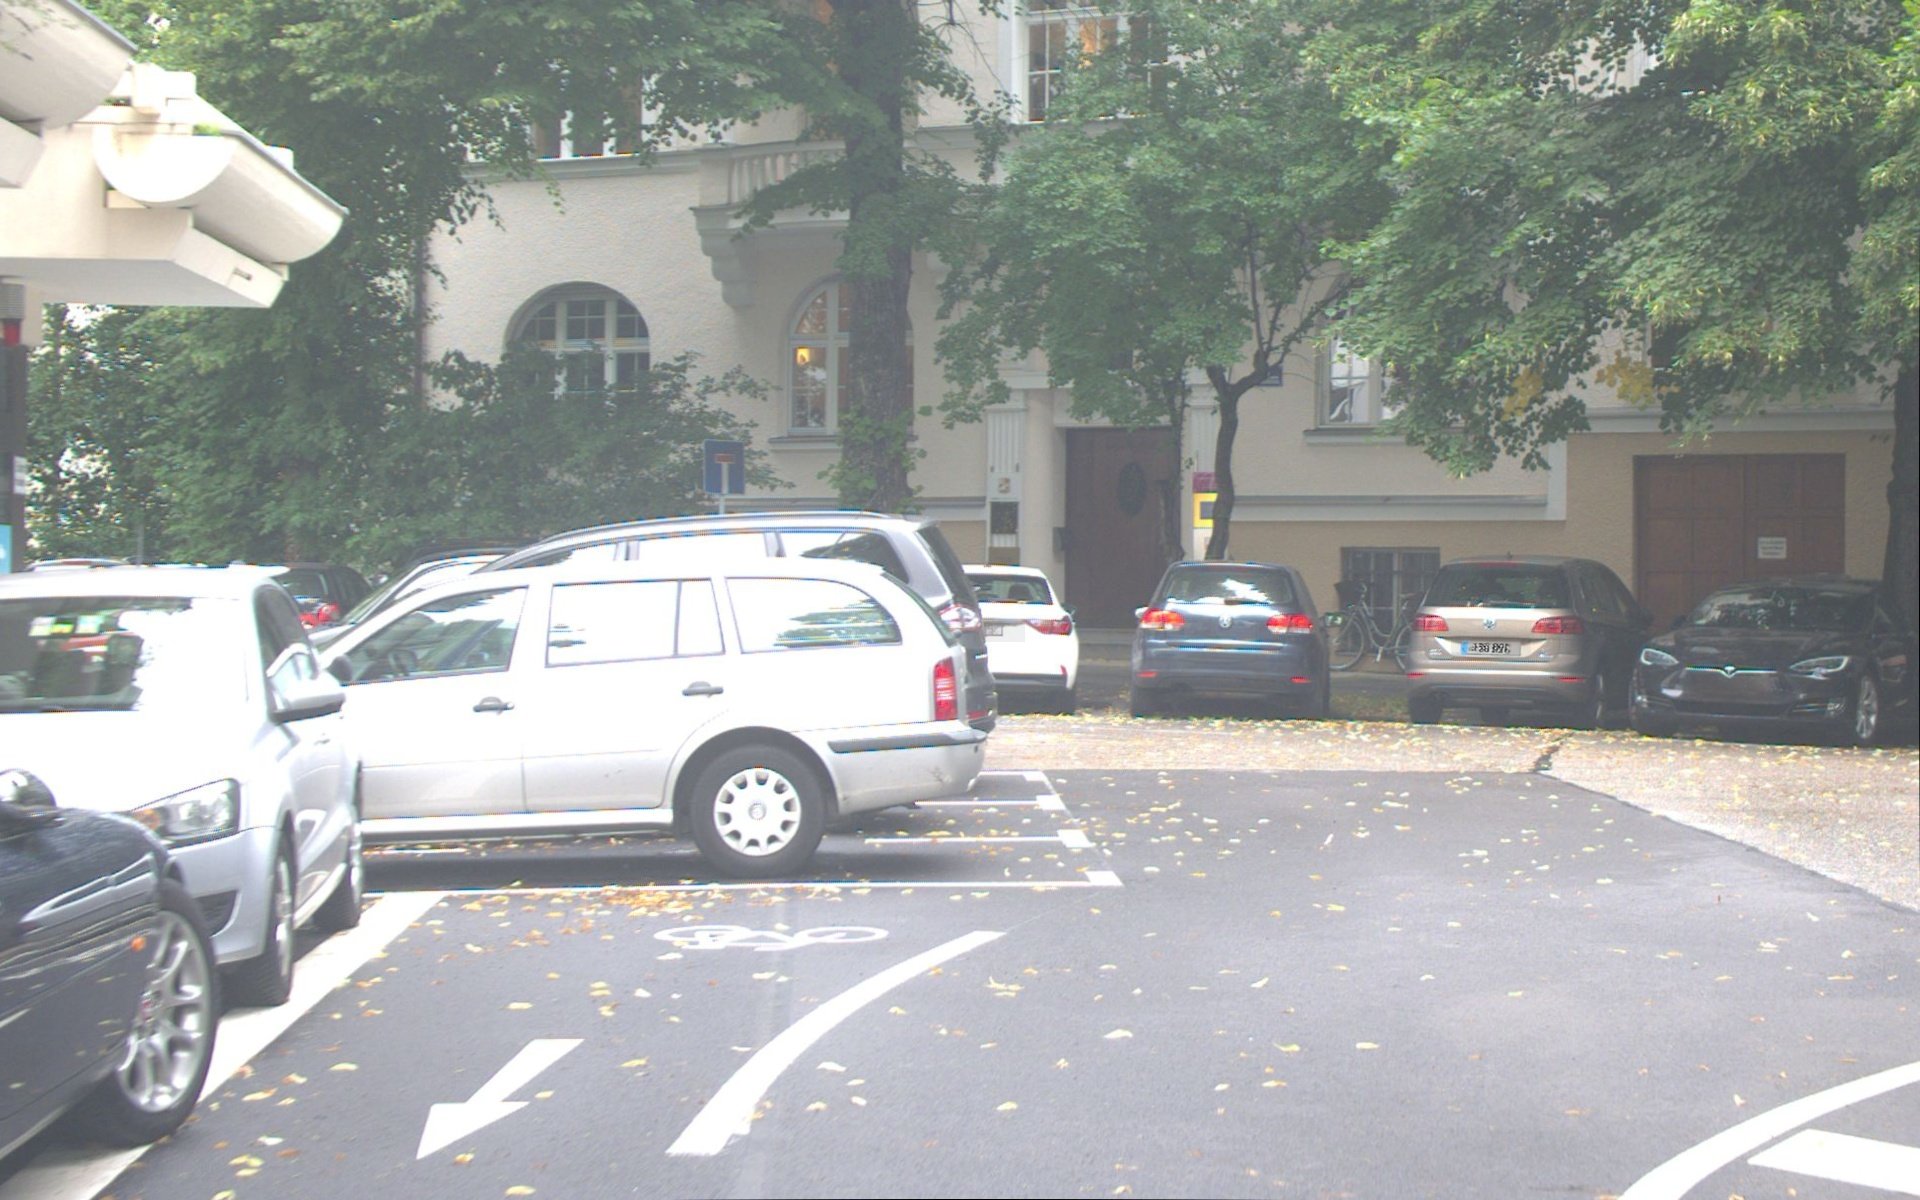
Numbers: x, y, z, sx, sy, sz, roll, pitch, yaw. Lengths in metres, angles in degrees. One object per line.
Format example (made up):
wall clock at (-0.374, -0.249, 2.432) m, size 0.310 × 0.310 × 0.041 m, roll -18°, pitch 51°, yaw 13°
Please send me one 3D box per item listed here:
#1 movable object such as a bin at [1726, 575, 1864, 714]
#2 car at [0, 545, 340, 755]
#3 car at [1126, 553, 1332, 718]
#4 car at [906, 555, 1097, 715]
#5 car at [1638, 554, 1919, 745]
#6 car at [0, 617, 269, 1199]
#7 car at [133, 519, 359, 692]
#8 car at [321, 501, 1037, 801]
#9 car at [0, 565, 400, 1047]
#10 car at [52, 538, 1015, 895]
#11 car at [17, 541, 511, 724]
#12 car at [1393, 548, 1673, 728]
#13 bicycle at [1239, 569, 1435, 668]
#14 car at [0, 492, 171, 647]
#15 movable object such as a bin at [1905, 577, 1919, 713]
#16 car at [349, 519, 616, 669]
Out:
movable object such as a bin at (8.511, 0.439, 35.026) m, size 1.151 × 1.344 × 1.155 m, roll 2°, pitch 2°, yaw 23°
car at (-6.812, 0.392, 27.779) m, size 3.287 × 1.625 × 1.510 m, roll 1°, pitch 1°, yaw -22°
car at (2.544, 0.292, 32.589) m, size 1.791 × 1.426 × 3.999 m, roll 1°, pitch 1°, yaw 4°
car at (0.373, 0.293, 33.523) m, size 1.718 × 1.426 × 4.000 m, roll 1°, pitch 1°, yaw 0°
car at (7.356, 0.463, 29.774) m, size 1.706 × 1.462 × 4.281 m, roll 3°, pitch -1°, yaw 28°
car at (-2.678, 0.735, 7.034) m, size 1.796 × 1.273 × 4.617 m, roll -1°, pitch 1°, yaw -3°
car at (-7.092, 0.021, 34.472) m, size 1.699 × 1.596 × 4.001 m, roll 1°, pitch 1°, yaw -5°
car at (-1.729, 0.283, 21.451) m, size 4.219 × 1.678 × 1.903 m, roll -1°, pitch 1°, yaw -4°
car at (-2.991, 0.609, 12.261) m, size 1.560 × 1.416 × 3.834 m, roll -1°, pitch 1°, yaw -4°
car at (-1.929, 0.501, 16.190) m, size 4.227 × 1.450 × 1.721 m, roll -2°, pitch 1°, yaw -3°
car at (-5.250, 0.240, 25.876) m, size 3.448 × 1.280 × 1.531 m, roll 1°, pitch 1°, yaw -19°
car at (5.405, 0.322, 32.044) m, size 1.840 × 1.525 × 4.021 m, roll 1°, pitch 1°, yaw 20°
bicycle at (4.475, 0.211, 40.898) m, size 2.232 × 1.111 × 0.576 m, roll 2°, pitch 1°, yaw 26°
car at (-9.876, -0.358, 37.887) m, size 1.699 × 1.596 × 4.001 m, roll 1°, pitch 1°, yaw -5°
movable object such as a bin at (10.010, 0.449, 34.602) m, size 0.714 × 1.343 × 1.371 m, roll 1°, pitch 1°, yaw 25°
car at (-4.878, -0.091, 34.655) m, size 2.055 × 1.396 × 4.001 m, roll 1°, pitch 1°, yaw -17°
